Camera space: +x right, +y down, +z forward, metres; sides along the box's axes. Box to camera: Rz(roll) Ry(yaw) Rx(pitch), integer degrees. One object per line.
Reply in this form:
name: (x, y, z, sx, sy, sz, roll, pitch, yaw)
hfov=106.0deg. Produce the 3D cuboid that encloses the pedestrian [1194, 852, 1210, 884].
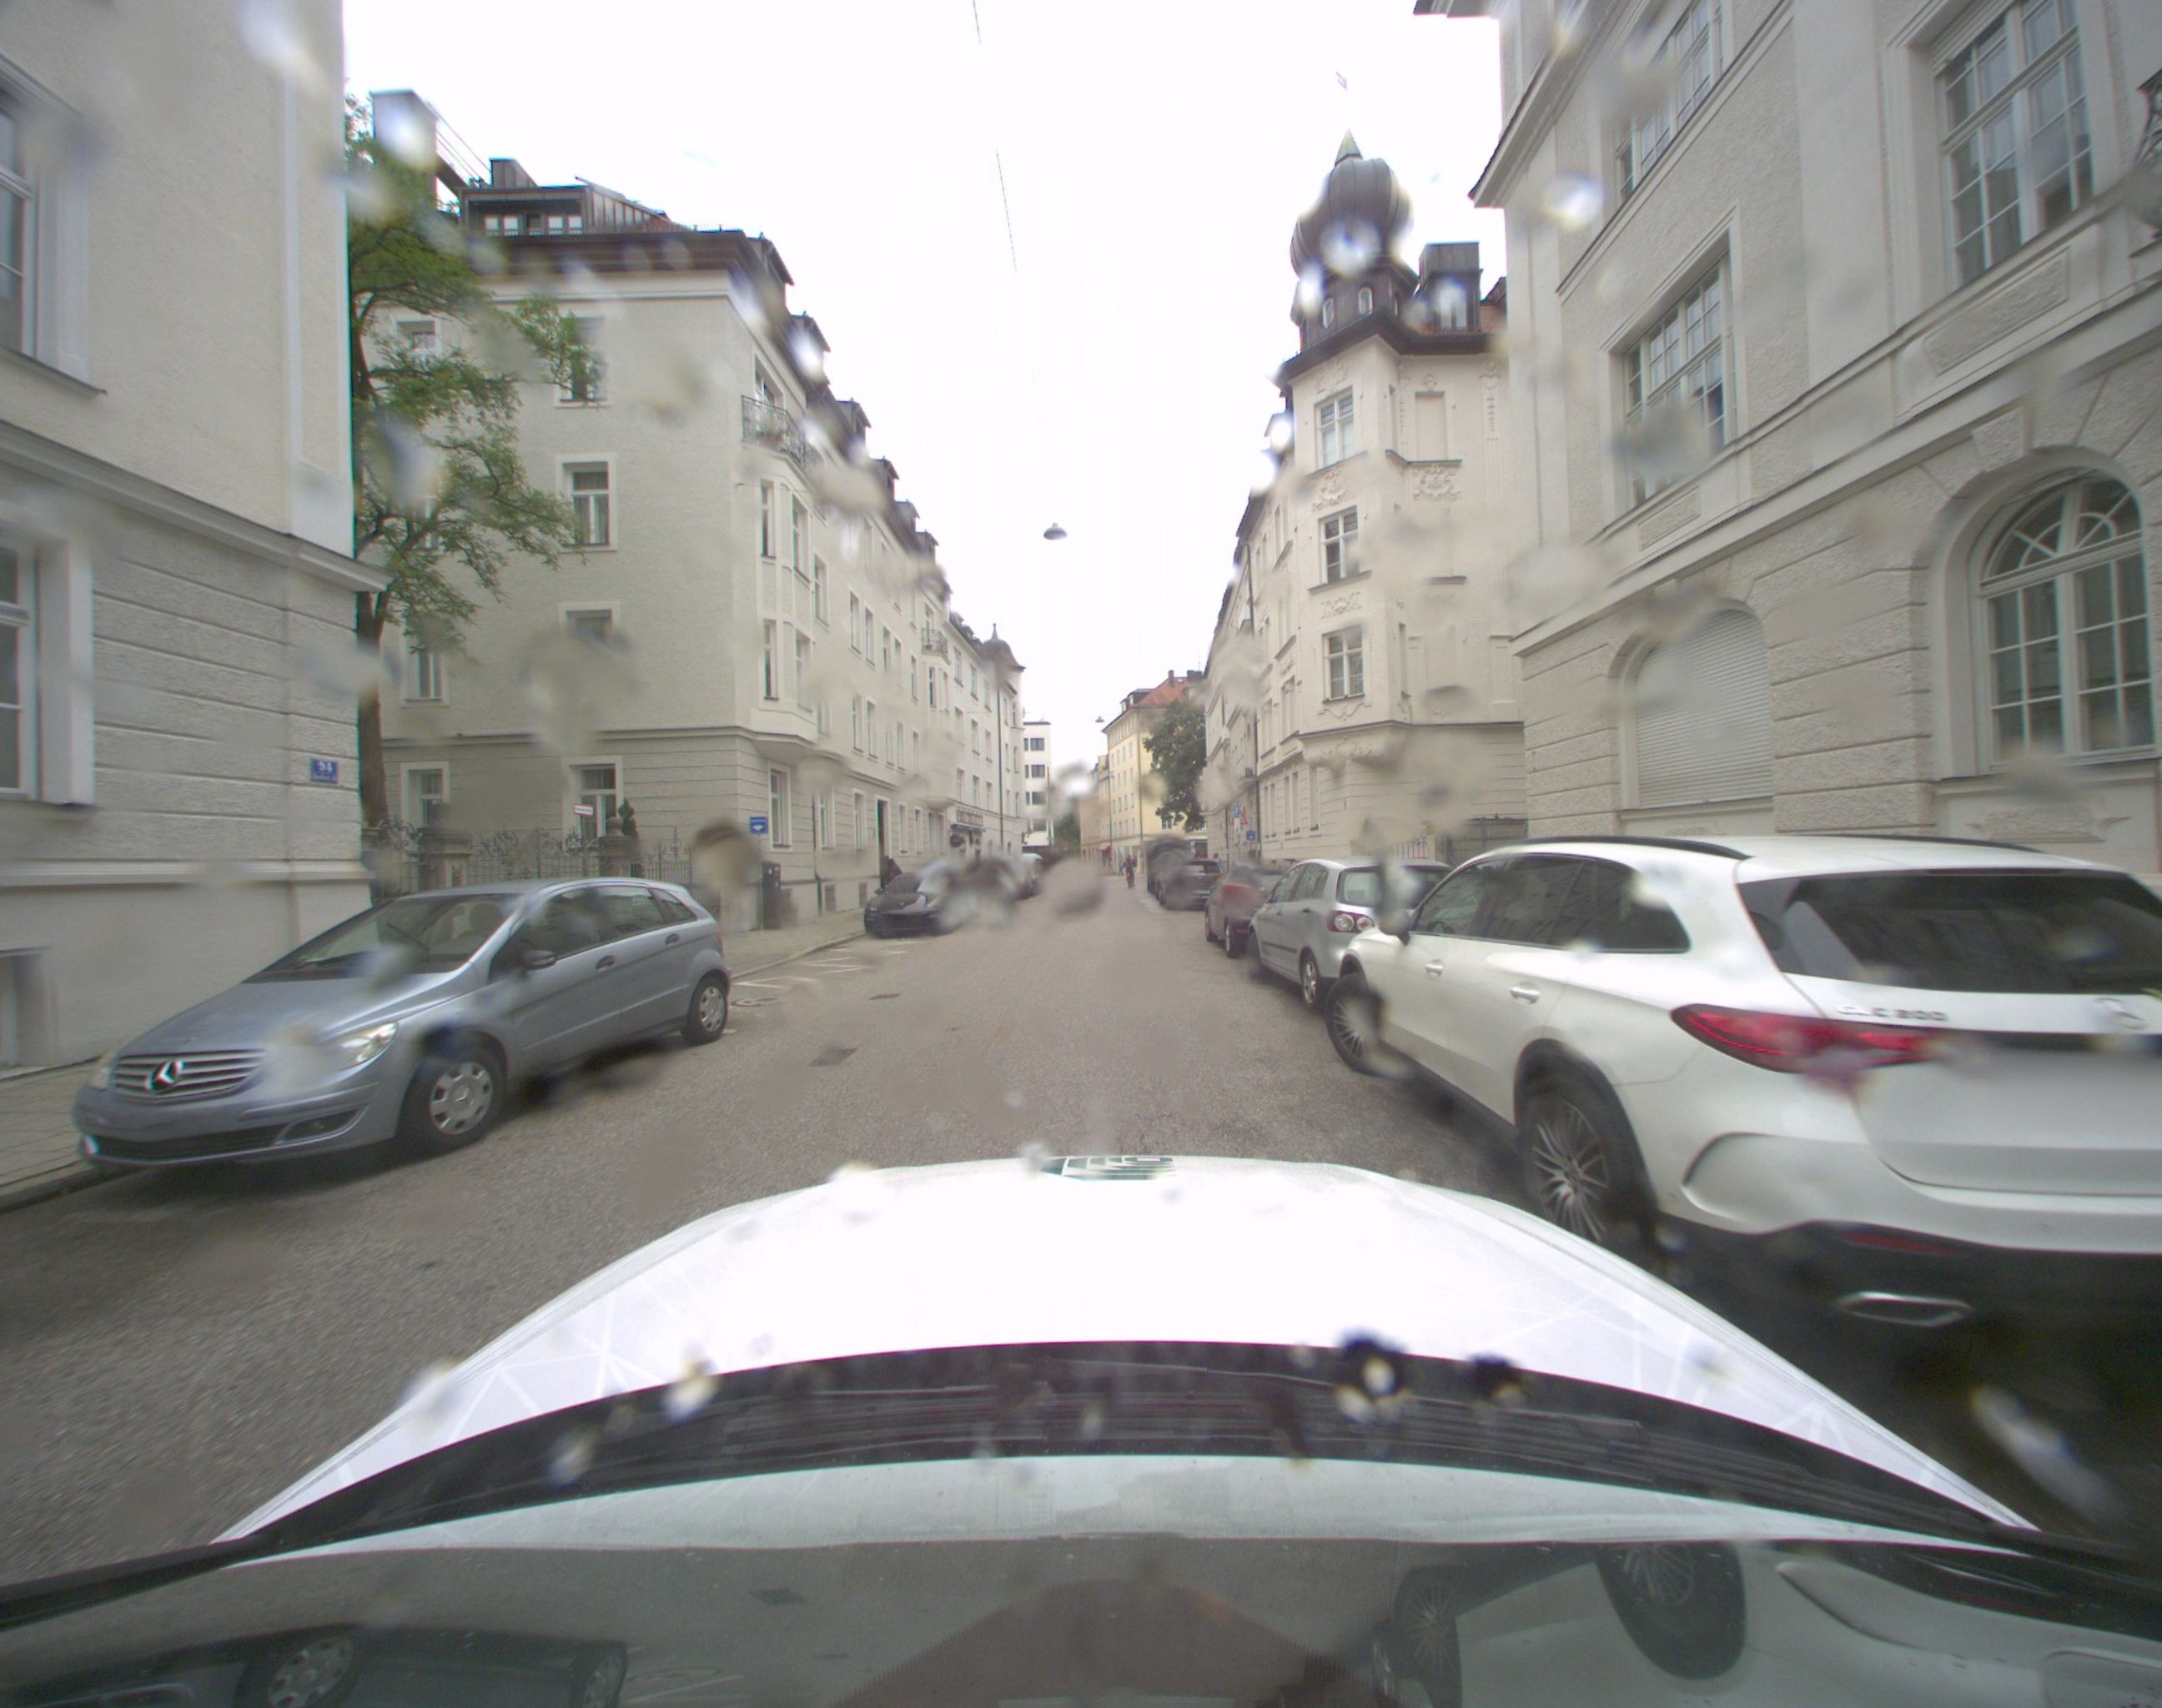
pedestrian: (6.597, 0.770, 44.525, 0.701, 1.728, 0.703, -3, -1, 0)

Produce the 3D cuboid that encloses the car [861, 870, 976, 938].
car: (-3.839, 1.143, 20.096, 1.844, 1.367, 4.701, -2, -1, 0)

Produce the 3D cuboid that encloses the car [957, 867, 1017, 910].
car: (-3.509, 1.255, 31.086, 1.805, 1.385, 4.441, -4, -1, -1)

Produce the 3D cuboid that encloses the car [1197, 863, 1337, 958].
car: (3.068, 0.874, 14.176, 1.606, 1.395, 4.001, -1, -1, 1)

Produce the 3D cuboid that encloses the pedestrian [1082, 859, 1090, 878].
pedestrian: (0.438, 1.323, 72.439, 0.607, 1.661, 0.552, -2, -1, 6)

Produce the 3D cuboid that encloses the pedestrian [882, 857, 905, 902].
pedestrian: (-7.326, 0.983, 31.806, 0.695, 1.707, 0.665, -2, -1, 0)

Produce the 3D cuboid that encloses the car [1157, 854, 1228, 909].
car: (3.383, 0.803, 25.412, 1.701, 1.588, 4.000, 0, 0, 1)

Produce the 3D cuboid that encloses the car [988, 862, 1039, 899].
car: (-2.913, 1.128, 35.869, 1.735, 1.487, 4.182, -2, -1, 2)

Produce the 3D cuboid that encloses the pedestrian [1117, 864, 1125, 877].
pedestrian: (4.291, 1.762, 86.801, 0.695, 1.270, 0.652, -3, -1, 6)

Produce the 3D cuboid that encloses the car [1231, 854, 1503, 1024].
car: (2.978, 0.799, 9.427, 1.703, 1.501, 3.998, -1, -1, 0)

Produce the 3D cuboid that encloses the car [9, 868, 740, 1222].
car: (-4.378, 0.990, 6.079, 1.690, 1.580, 4.064, -4, 0, 2)

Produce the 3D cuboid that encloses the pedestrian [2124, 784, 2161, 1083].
pedestrian: (6.363, 0.426, 4.247, 0.680, 1.679, 0.812, -4, 0, 1)

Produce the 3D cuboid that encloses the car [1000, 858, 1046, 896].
car: (-2.838, 1.121, 40.759, 1.740, 1.673, 4.276, -5, -1, 1)

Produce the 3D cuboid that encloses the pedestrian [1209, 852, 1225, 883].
pedestrian: (7.514, 0.728, 44.967, 0.677, 1.674, 0.654, -4, -1, 0)

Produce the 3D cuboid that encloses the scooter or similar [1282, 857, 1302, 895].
scooter or similar: (7.507, 0.782, 28.984, 0.503, 1.287, 1.355, -4, -1, 11)

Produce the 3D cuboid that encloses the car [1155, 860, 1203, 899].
car: (3.691, 0.941, 31.197, 1.656, 1.395, 3.586, 0, -1, 4)

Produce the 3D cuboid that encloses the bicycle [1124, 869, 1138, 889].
bicycle: (2.631, 1.317, 42.905, 0.636, 1.004, 1.577, -2, -1, 6)

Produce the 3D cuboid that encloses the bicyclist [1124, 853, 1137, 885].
bicyclist: (2.612, 0.780, 42.939, 0.603, 1.606, 0.759, -2, -1, 6)

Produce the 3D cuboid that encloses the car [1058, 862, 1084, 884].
car: (-0.761, 1.522, 64.549, 1.669, 1.597, 3.949, -4, -1, 4)

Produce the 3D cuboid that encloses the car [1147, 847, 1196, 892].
car: (4.024, 0.687, 36.997, 1.903, 1.885, 4.716, 0, -1, 2)

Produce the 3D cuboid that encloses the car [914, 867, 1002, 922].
car: (-3.747, 1.203, 25.564, 1.787, 1.420, 4.513, -5, -1, 2)

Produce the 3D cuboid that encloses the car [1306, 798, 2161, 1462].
car: (2.624, 0.676, 4.220, 1.887, 1.636, 4.395, -2, 0, 3)

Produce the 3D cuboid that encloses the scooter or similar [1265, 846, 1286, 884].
scooter or similar: (6.926, 0.378, 29.049, 0.537, 1.287, 1.507, -4, -1, 10)

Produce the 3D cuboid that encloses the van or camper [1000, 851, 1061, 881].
van or camper: (-5.030, 1.240, 80.763, 5.897, 2.677, 1.869, -2, -3, -6)
